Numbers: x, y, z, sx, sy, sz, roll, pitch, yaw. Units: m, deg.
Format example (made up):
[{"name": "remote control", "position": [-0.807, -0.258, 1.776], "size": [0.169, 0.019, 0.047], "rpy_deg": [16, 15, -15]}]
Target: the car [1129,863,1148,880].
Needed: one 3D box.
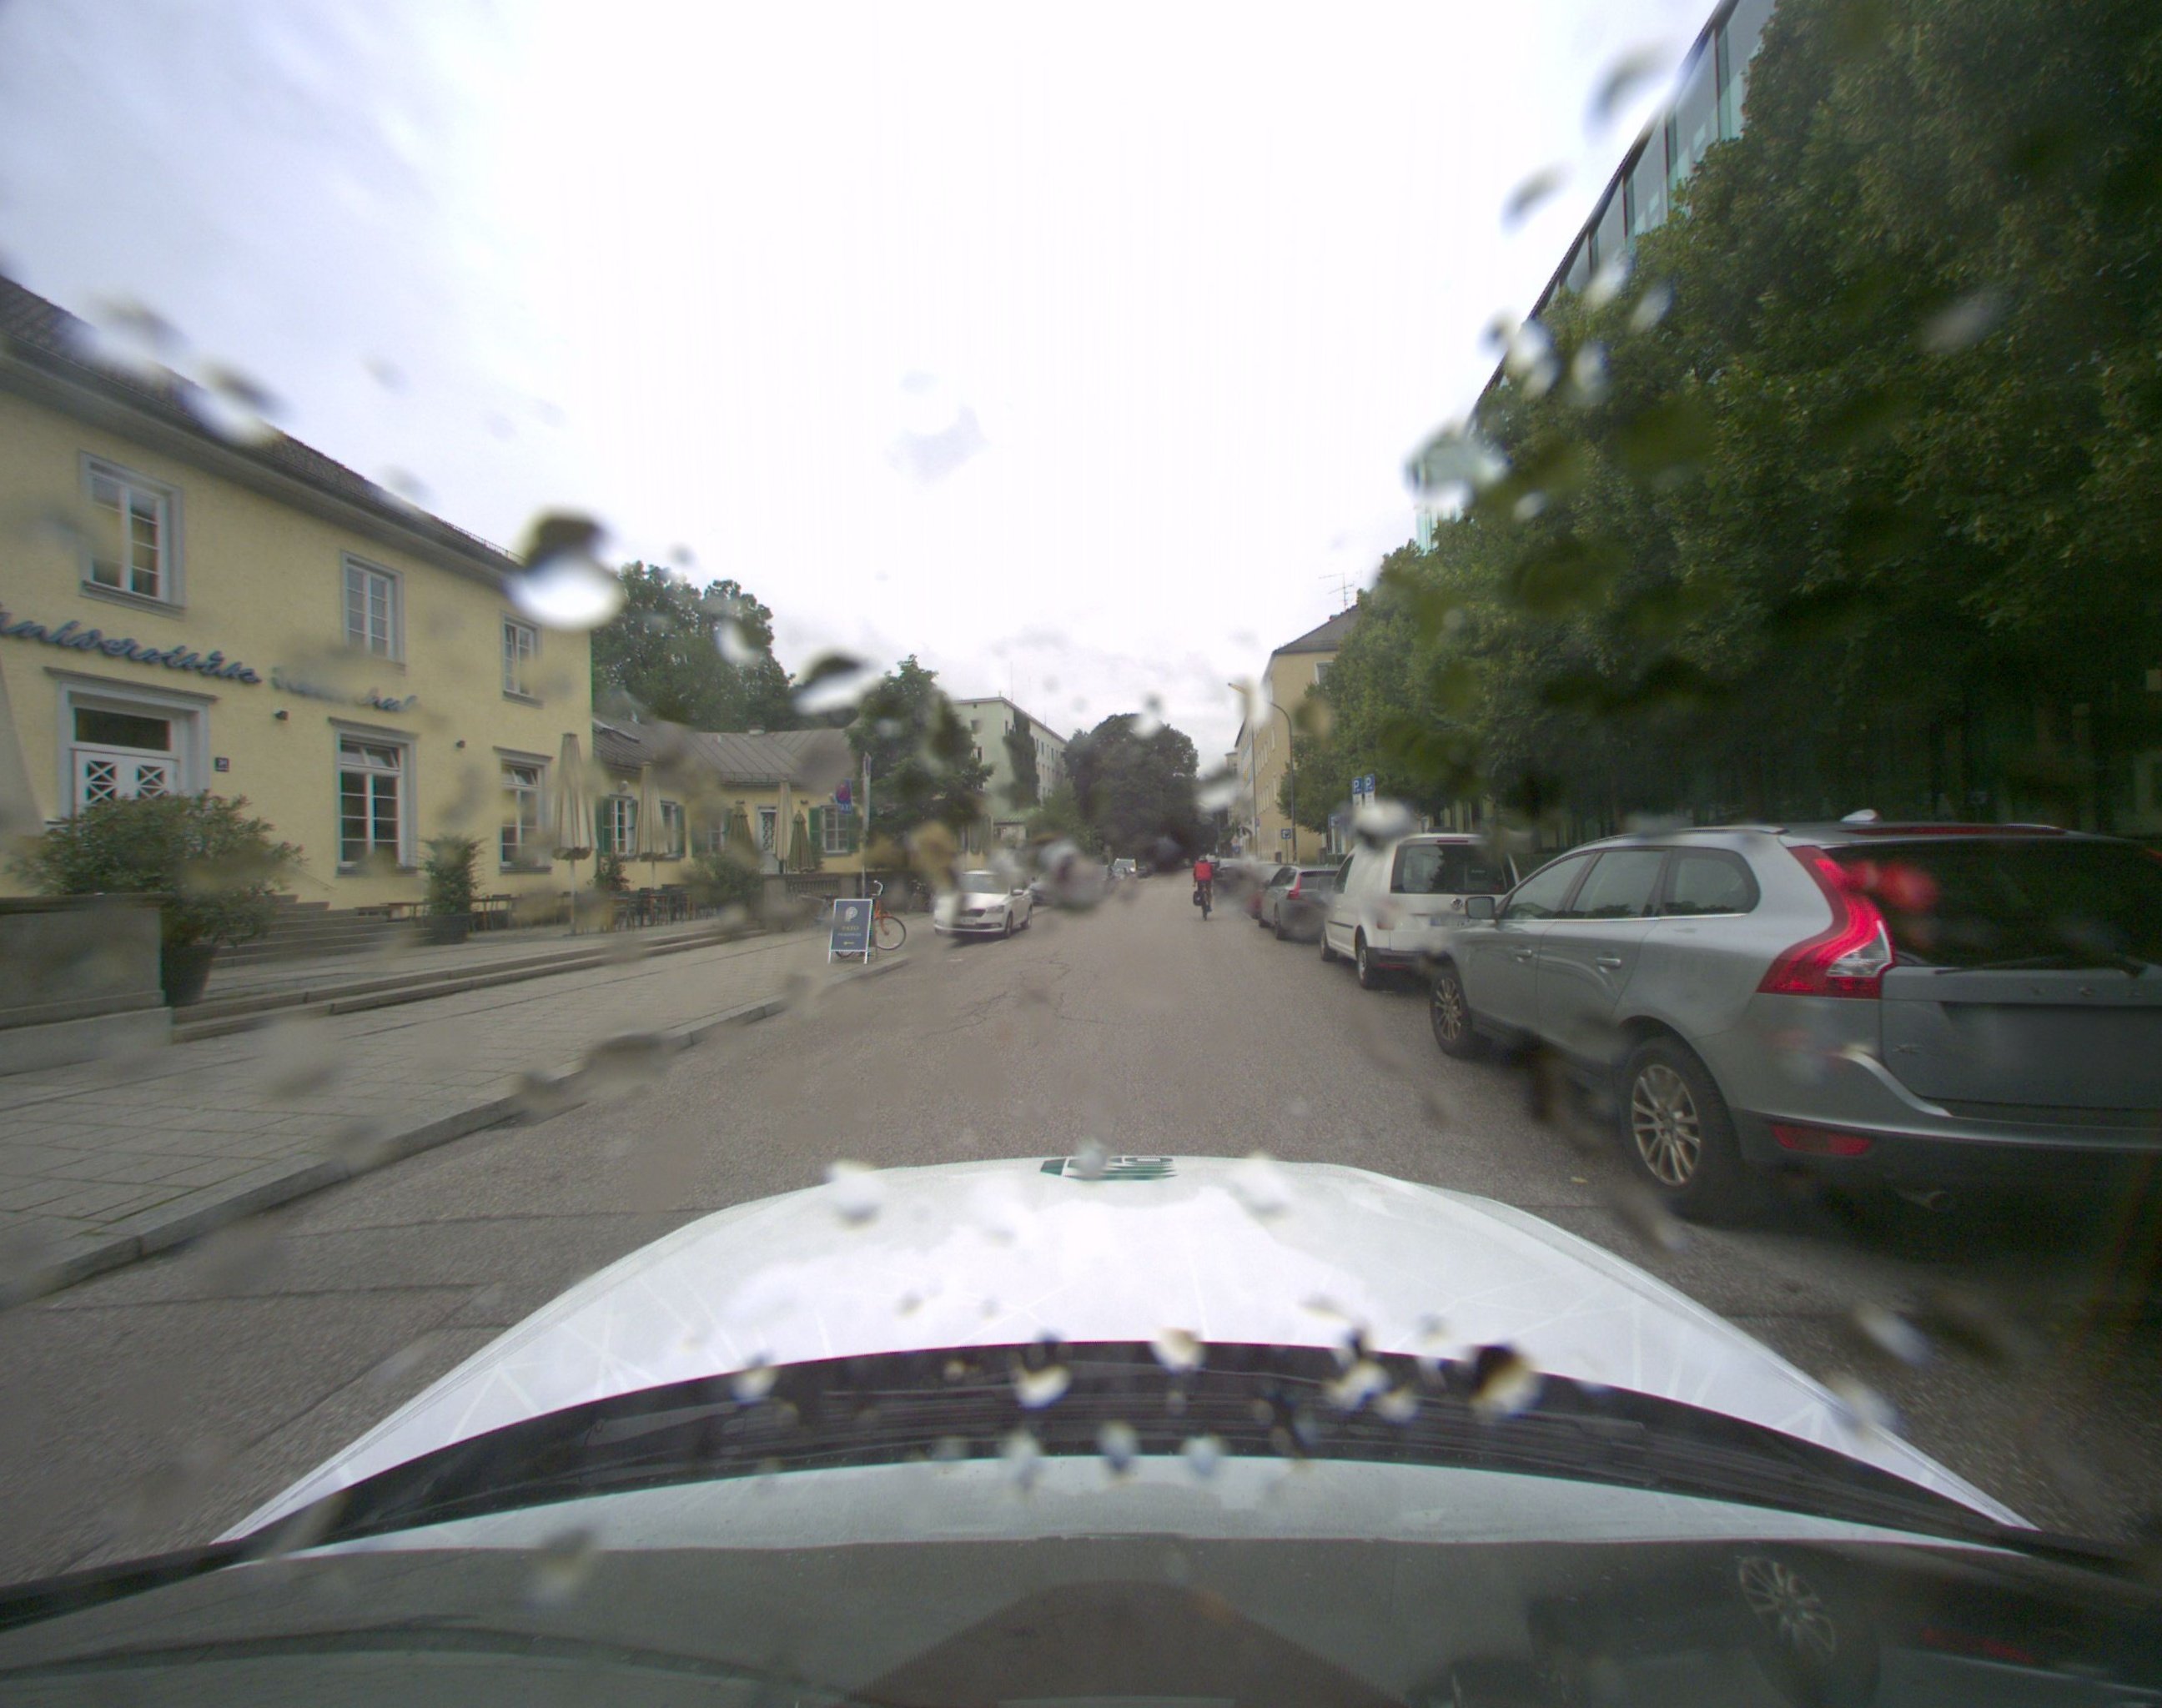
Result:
[{"name": "car", "position": [6.050, 1.774, 85.722], "size": [1.801, 1.683, 4.006], "rpy_deg": [-2, -1, 5]}]

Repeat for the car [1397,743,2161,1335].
[{"name": "car", "position": [3.451, 0.573, 4.727], "size": [1.853, 1.794, 4.517], "rpy_deg": [-2, -1, 6]}]

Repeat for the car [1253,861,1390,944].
[{"name": "car", "position": [4.666, 0.881, 16.426], "size": [1.854, 1.440, 4.262], "rpy_deg": [-1, -1, 6]}]

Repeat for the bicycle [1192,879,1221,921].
[{"name": "bicycle", "position": [3.216, 1.162, 21.042], "size": [0.618, 1.004, 2.143], "rpy_deg": [-2, -2, 6]}]

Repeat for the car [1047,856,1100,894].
[{"name": "car", "position": [-0.287, 0.943, 36.752], "size": [1.984, 1.603, 4.005], "rpy_deg": [-1, -2, 5]}]

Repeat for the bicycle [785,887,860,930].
[{"name": "bicycle", "position": [-6.070, 1.261, 19.111], "size": [1.620, 0.926, 0.647], "rpy_deg": [-1, -2, -22]}]

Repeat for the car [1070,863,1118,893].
[{"name": "car", "position": [0.767, 1.244, 43.678], "size": [1.982, 1.486, 4.010], "rpy_deg": [0, 0, 9]}]

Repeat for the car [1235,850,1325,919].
[{"name": "car", "position": [5.346, 0.784, 22.336], "size": [1.853, 1.676, 3.909], "rpy_deg": [-2, -1, 6]}]

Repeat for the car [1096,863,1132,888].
[{"name": "car", "position": [2.218, 1.414, 54.503], "size": [1.982, 1.486, 4.009], "rpy_deg": [-2, -1, 8]}]

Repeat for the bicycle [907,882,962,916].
[{"name": "bicycle", "position": [-4.652, 1.418, 25.824], "size": [1.620, 1.004, 0.619], "rpy_deg": [-1, -2, -22]}]

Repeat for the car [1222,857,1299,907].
[{"name": "car", "position": [6.060, 0.898, 27.893], "size": [1.985, 1.552, 4.004], "rpy_deg": [-1, -1, 4]}]

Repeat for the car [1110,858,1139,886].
[{"name": "car", "position": [3.385, 1.352, 63.046], "size": [1.984, 2.079, 4.006], "rpy_deg": [-2, -1, 5]}]

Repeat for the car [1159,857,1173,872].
[{"name": "car", "position": [12.802, 1.546, 123.162], "size": [1.984, 2.099, 4.006], "rpy_deg": [1, 0, 5]}]

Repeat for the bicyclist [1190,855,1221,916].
[{"name": "bicyclist", "position": [3.205, 0.810, 21.037], "size": [0.668, 1.498, 1.096], "rpy_deg": [-2, -2, 6]}]

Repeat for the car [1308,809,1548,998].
[{"name": "car", "position": [4.220, 0.537, 10.672], "size": [1.740, 1.943, 4.235], "rpy_deg": [-2, -1, 7]}]

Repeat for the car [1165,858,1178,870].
[{"name": "car", "position": [14.966, 1.648, 134.619], "size": [1.983, 2.014, 4.007], "rpy_deg": [1, -1, 7]}]

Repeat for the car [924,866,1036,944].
[{"name": "car", "position": [-2.242, 1.100, 19.129], "size": [1.725, 1.581, 3.794], "rpy_deg": [1, -1, 6]}]

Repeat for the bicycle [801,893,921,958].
[{"name": "bicycle", "position": [-3.913, 1.250, 14.688], "size": [0.615, 1.004, 2.153], "rpy_deg": [1, 0, 36]}]

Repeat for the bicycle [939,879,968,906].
[{"name": "bicycle", "position": [-4.853, 1.444, 31.003], "size": [0.618, 1.004, 1.622], "rpy_deg": [-1, -2, 9]}]

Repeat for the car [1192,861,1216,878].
[{"name": "car", "position": [11.901, 1.472, 78.965], "size": [1.985, 1.552, 4.004], "rpy_deg": [-1, -1, 4]}]

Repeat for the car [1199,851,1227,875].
[{"name": "car", "position": [11.877, 0.779, 73.599], "size": [1.985, 2.060, 4.628], "rpy_deg": [-1, -1, 4]}]

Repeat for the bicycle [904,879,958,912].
[{"name": "bicycle", "position": [-5.006, 1.386, 27.121], "size": [1.624, 1.004, 0.617], "rpy_deg": [-2, -2, -32]}]

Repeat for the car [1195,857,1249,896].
[{"name": "car", "position": [6.306, 0.976, 36.863], "size": [1.985, 1.618, 4.004], "rpy_deg": [-1, -1, 4]}]

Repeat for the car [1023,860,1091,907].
[{"name": "car", "position": [-0.850, 1.093, 31.677], "size": [1.983, 1.648, 4.663], "rpy_deg": [-2, -1, 6]}]
